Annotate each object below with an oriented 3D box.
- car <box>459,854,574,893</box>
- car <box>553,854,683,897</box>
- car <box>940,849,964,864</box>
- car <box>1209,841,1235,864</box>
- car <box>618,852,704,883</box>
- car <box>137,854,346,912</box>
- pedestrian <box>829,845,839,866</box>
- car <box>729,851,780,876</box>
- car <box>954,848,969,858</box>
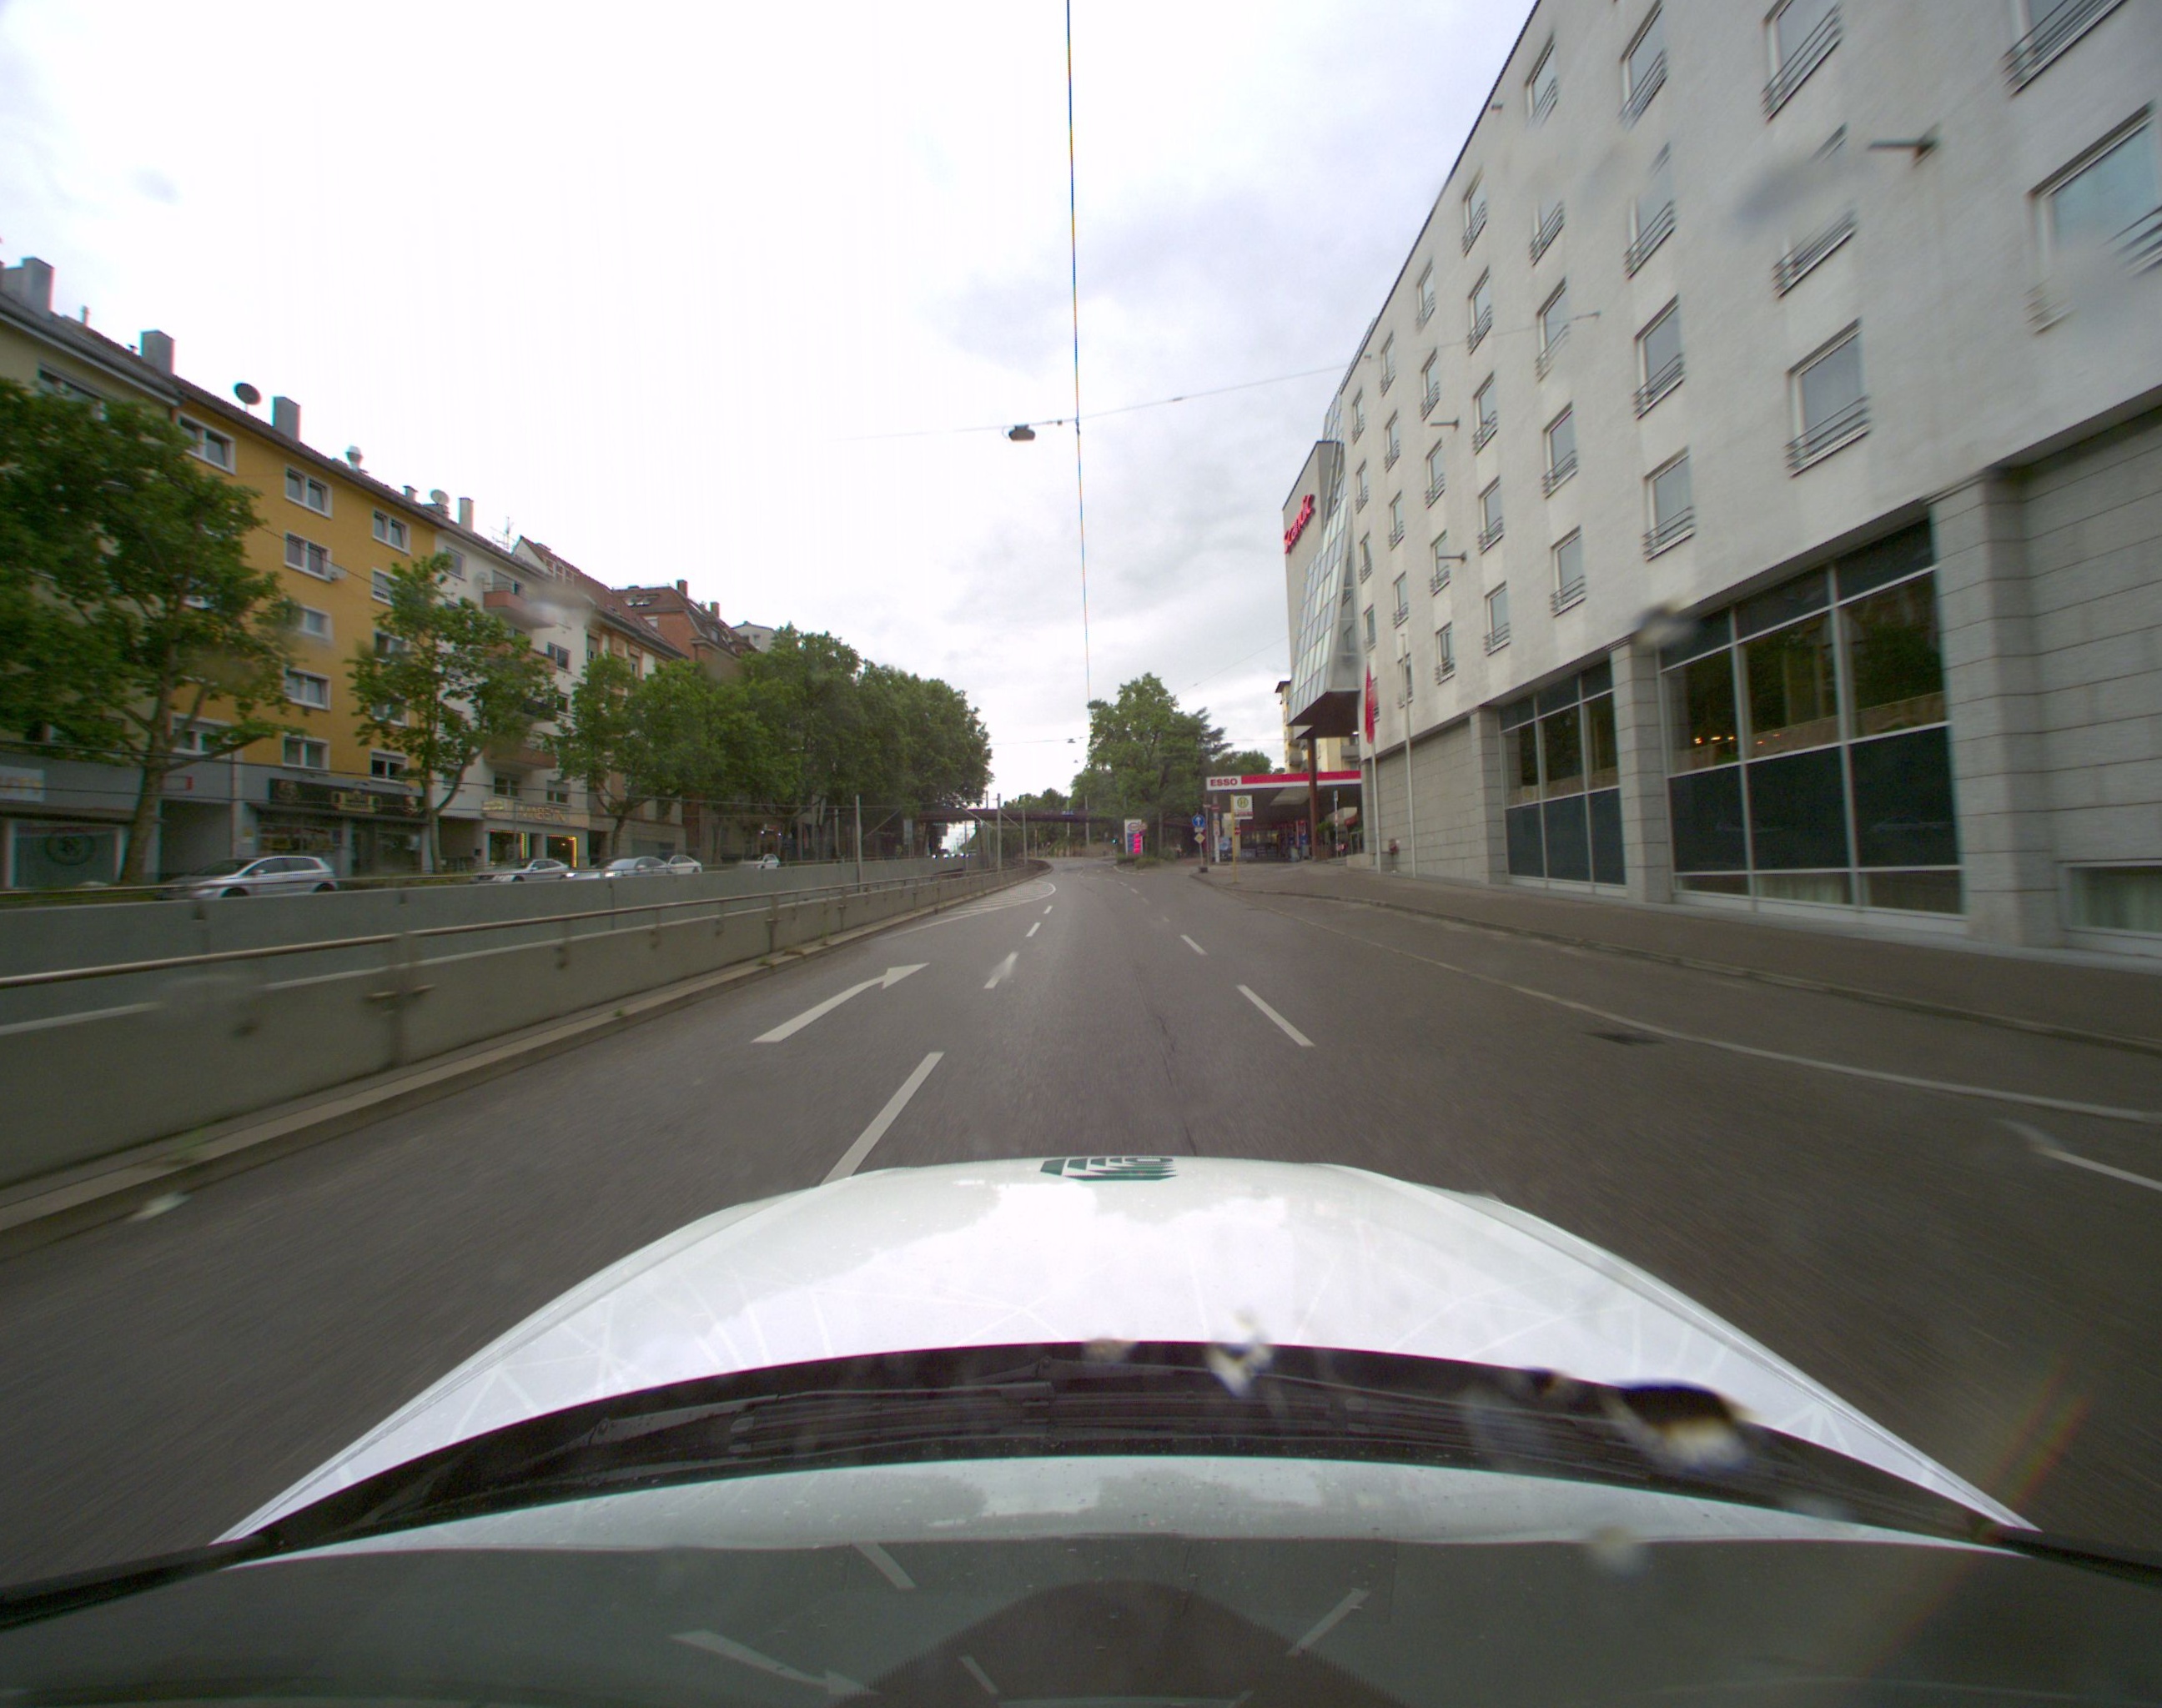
[{"bbox_3d":[-24.014,0.787,34.855,1.787,1.510,4.211,0,0,3],"label":"car"},{"bbox_3d":[-17.611,0.768,31.322,2.018,1.510,4.887,0,0,3],"label":"car"},{"bbox_3d":[-16.391,0.322,103.712,1.948,1.852,4.972,0,0,3],"label":"car"},{"bbox_3d":[10.960,-0.140,63.175,1.761,1.623,3.877,-4,-1,10],"label":"car"},{"bbox_3d":[-23.329,0.696,45.463,1.919,1.601,5.202,0,0,2],"label":"car"},{"bbox_3d":[-24.976,0.807,24.477,1.787,1.571,4.211,0,0,3],"label":"car"},{"bbox_3d":[-24.019,0.161,79.241,0.666,2.014,0.936,0,-1,4],"label":"pedestrian"},{"bbox_3d":[-22.620,0.638,56.589,1.787,1.611,4.114,0,0,2],"label":"car"},{"bbox_3d":[-19.050,-0.189,129.923,1.788,1.510,4.000,0,-1,1],"label":"car"}]
